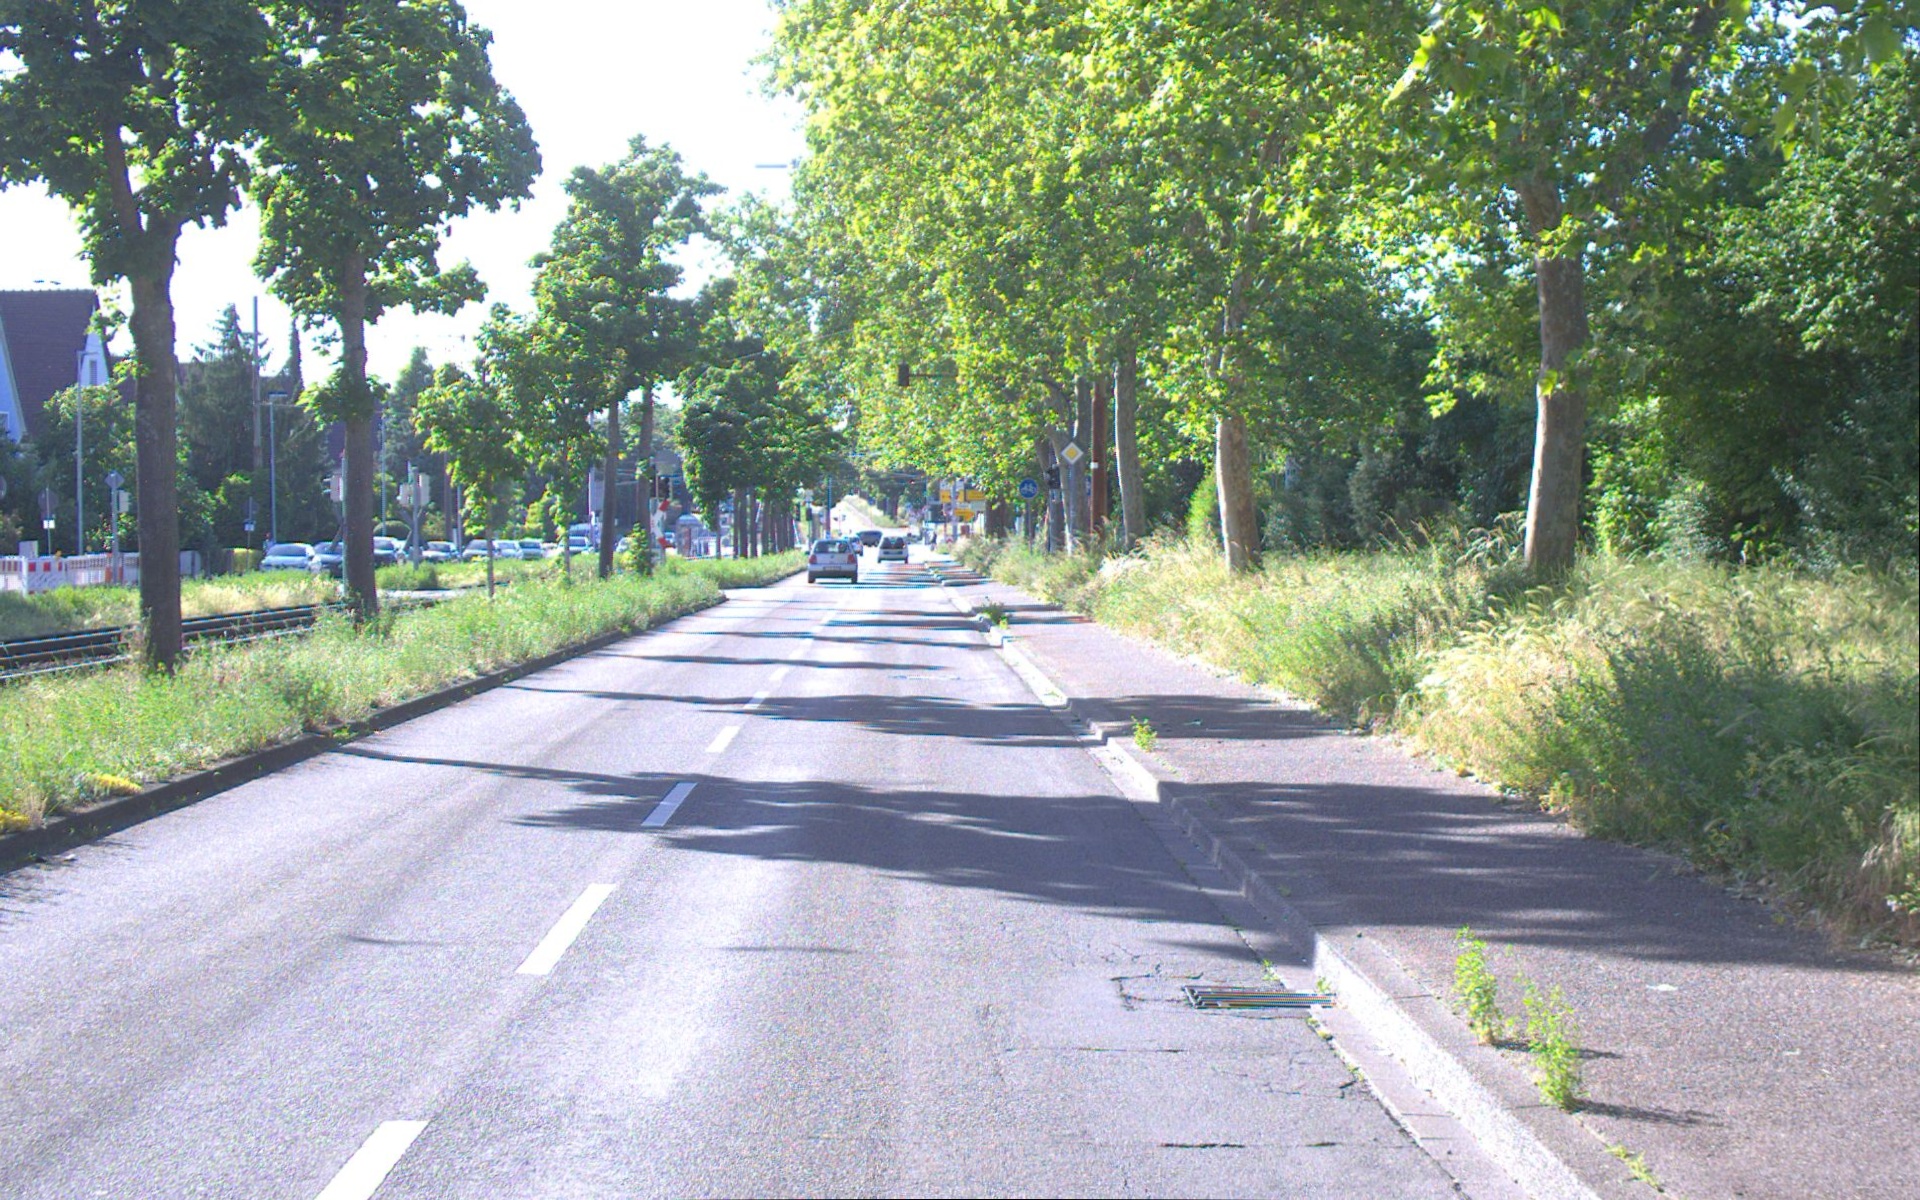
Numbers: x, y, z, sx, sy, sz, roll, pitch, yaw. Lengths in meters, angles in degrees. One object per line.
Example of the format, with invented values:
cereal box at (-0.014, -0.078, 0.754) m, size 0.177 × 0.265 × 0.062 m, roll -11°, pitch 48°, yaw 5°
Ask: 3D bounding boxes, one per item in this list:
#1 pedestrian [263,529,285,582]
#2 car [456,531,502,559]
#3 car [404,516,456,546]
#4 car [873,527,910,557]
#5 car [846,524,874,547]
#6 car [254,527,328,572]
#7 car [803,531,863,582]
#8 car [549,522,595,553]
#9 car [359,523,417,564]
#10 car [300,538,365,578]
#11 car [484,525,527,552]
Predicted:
pedestrian at (-26.290, -1.712, 131.833) m, size 0.680 × 2.007 × 0.772 m, roll 1°, pitch 1°, yaw -1°
car at (-25.107, -2.870, 179.526) m, size 1.860 × 1.408 × 4.159 m, roll 1°, pitch 1°, yaw -1°
car at (-24.813, -3.212, 160.975) m, size 1.860 × 1.365 × 4.228 m, roll 1°, pitch 1°, yaw -1°
car at (-3.714, -3.141, 186.168) m, size 1.993 × 1.598 × 4.474 m, roll 1°, pitch 1°, yaw -1°
car at (-7.222, -4.658, 247.857) m, size 1.993 × 1.598 × 4.474 m, roll 1°, pitch 1°, yaw -1°
car at (-23.618, -1.809, 121.541) m, size 1.860 × 1.537 × 4.228 m, roll 1°, pitch 1°, yaw -1°
car at (-4.091, -1.427, 111.521) m, size 1.860 × 1.595 × 4.228 m, roll 1°, pitch 1°, yaw -1°
car at (-20.361, -3.280, 180.594) m, size 1.993 × 1.598 × 4.474 m, roll 1°, pitch 1°, yaw -1°
car at (-23.635, -2.344, 142.112) m, size 1.748 × 1.645 × 4.556 m, roll 1°, pitch 1°, yaw -1°
car at (-23.771, -1.612, 130.320) m, size 1.729 × 1.461 × 4.603 m, roll 1°, pitch 1°, yaw -1°
car at (-25.010, -3.374, 189.341) m, size 1.860 × 1.426 × 4.462 m, roll 1°, pitch 1°, yaw -1°
